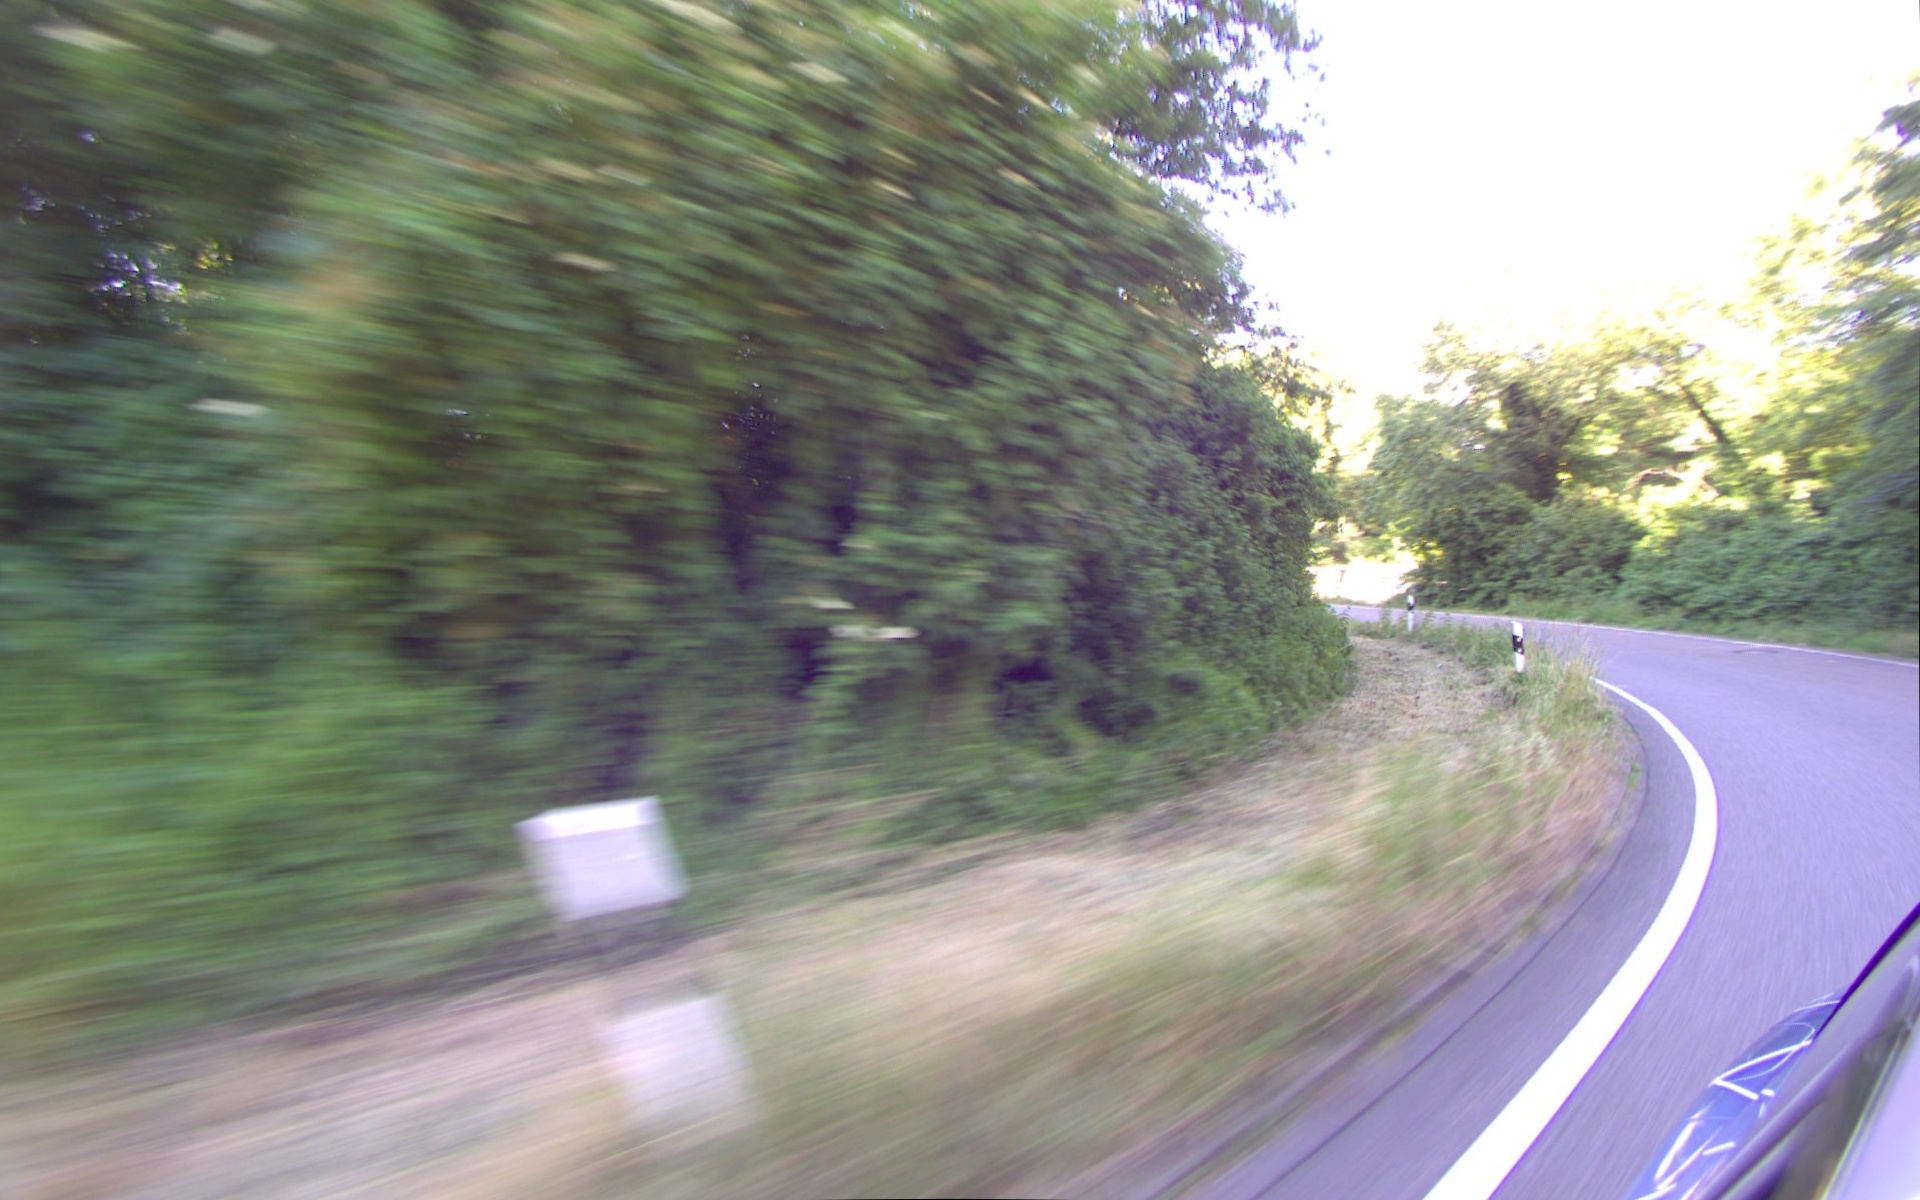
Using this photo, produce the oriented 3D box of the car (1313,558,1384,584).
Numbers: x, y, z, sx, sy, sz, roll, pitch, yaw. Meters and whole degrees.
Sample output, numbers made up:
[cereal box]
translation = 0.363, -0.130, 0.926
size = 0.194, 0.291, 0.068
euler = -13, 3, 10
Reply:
[car]
translation = 25.159, -1.889, 65.638
size = 4.194, 1.575, 1.542
euler = 1, 1, 20
